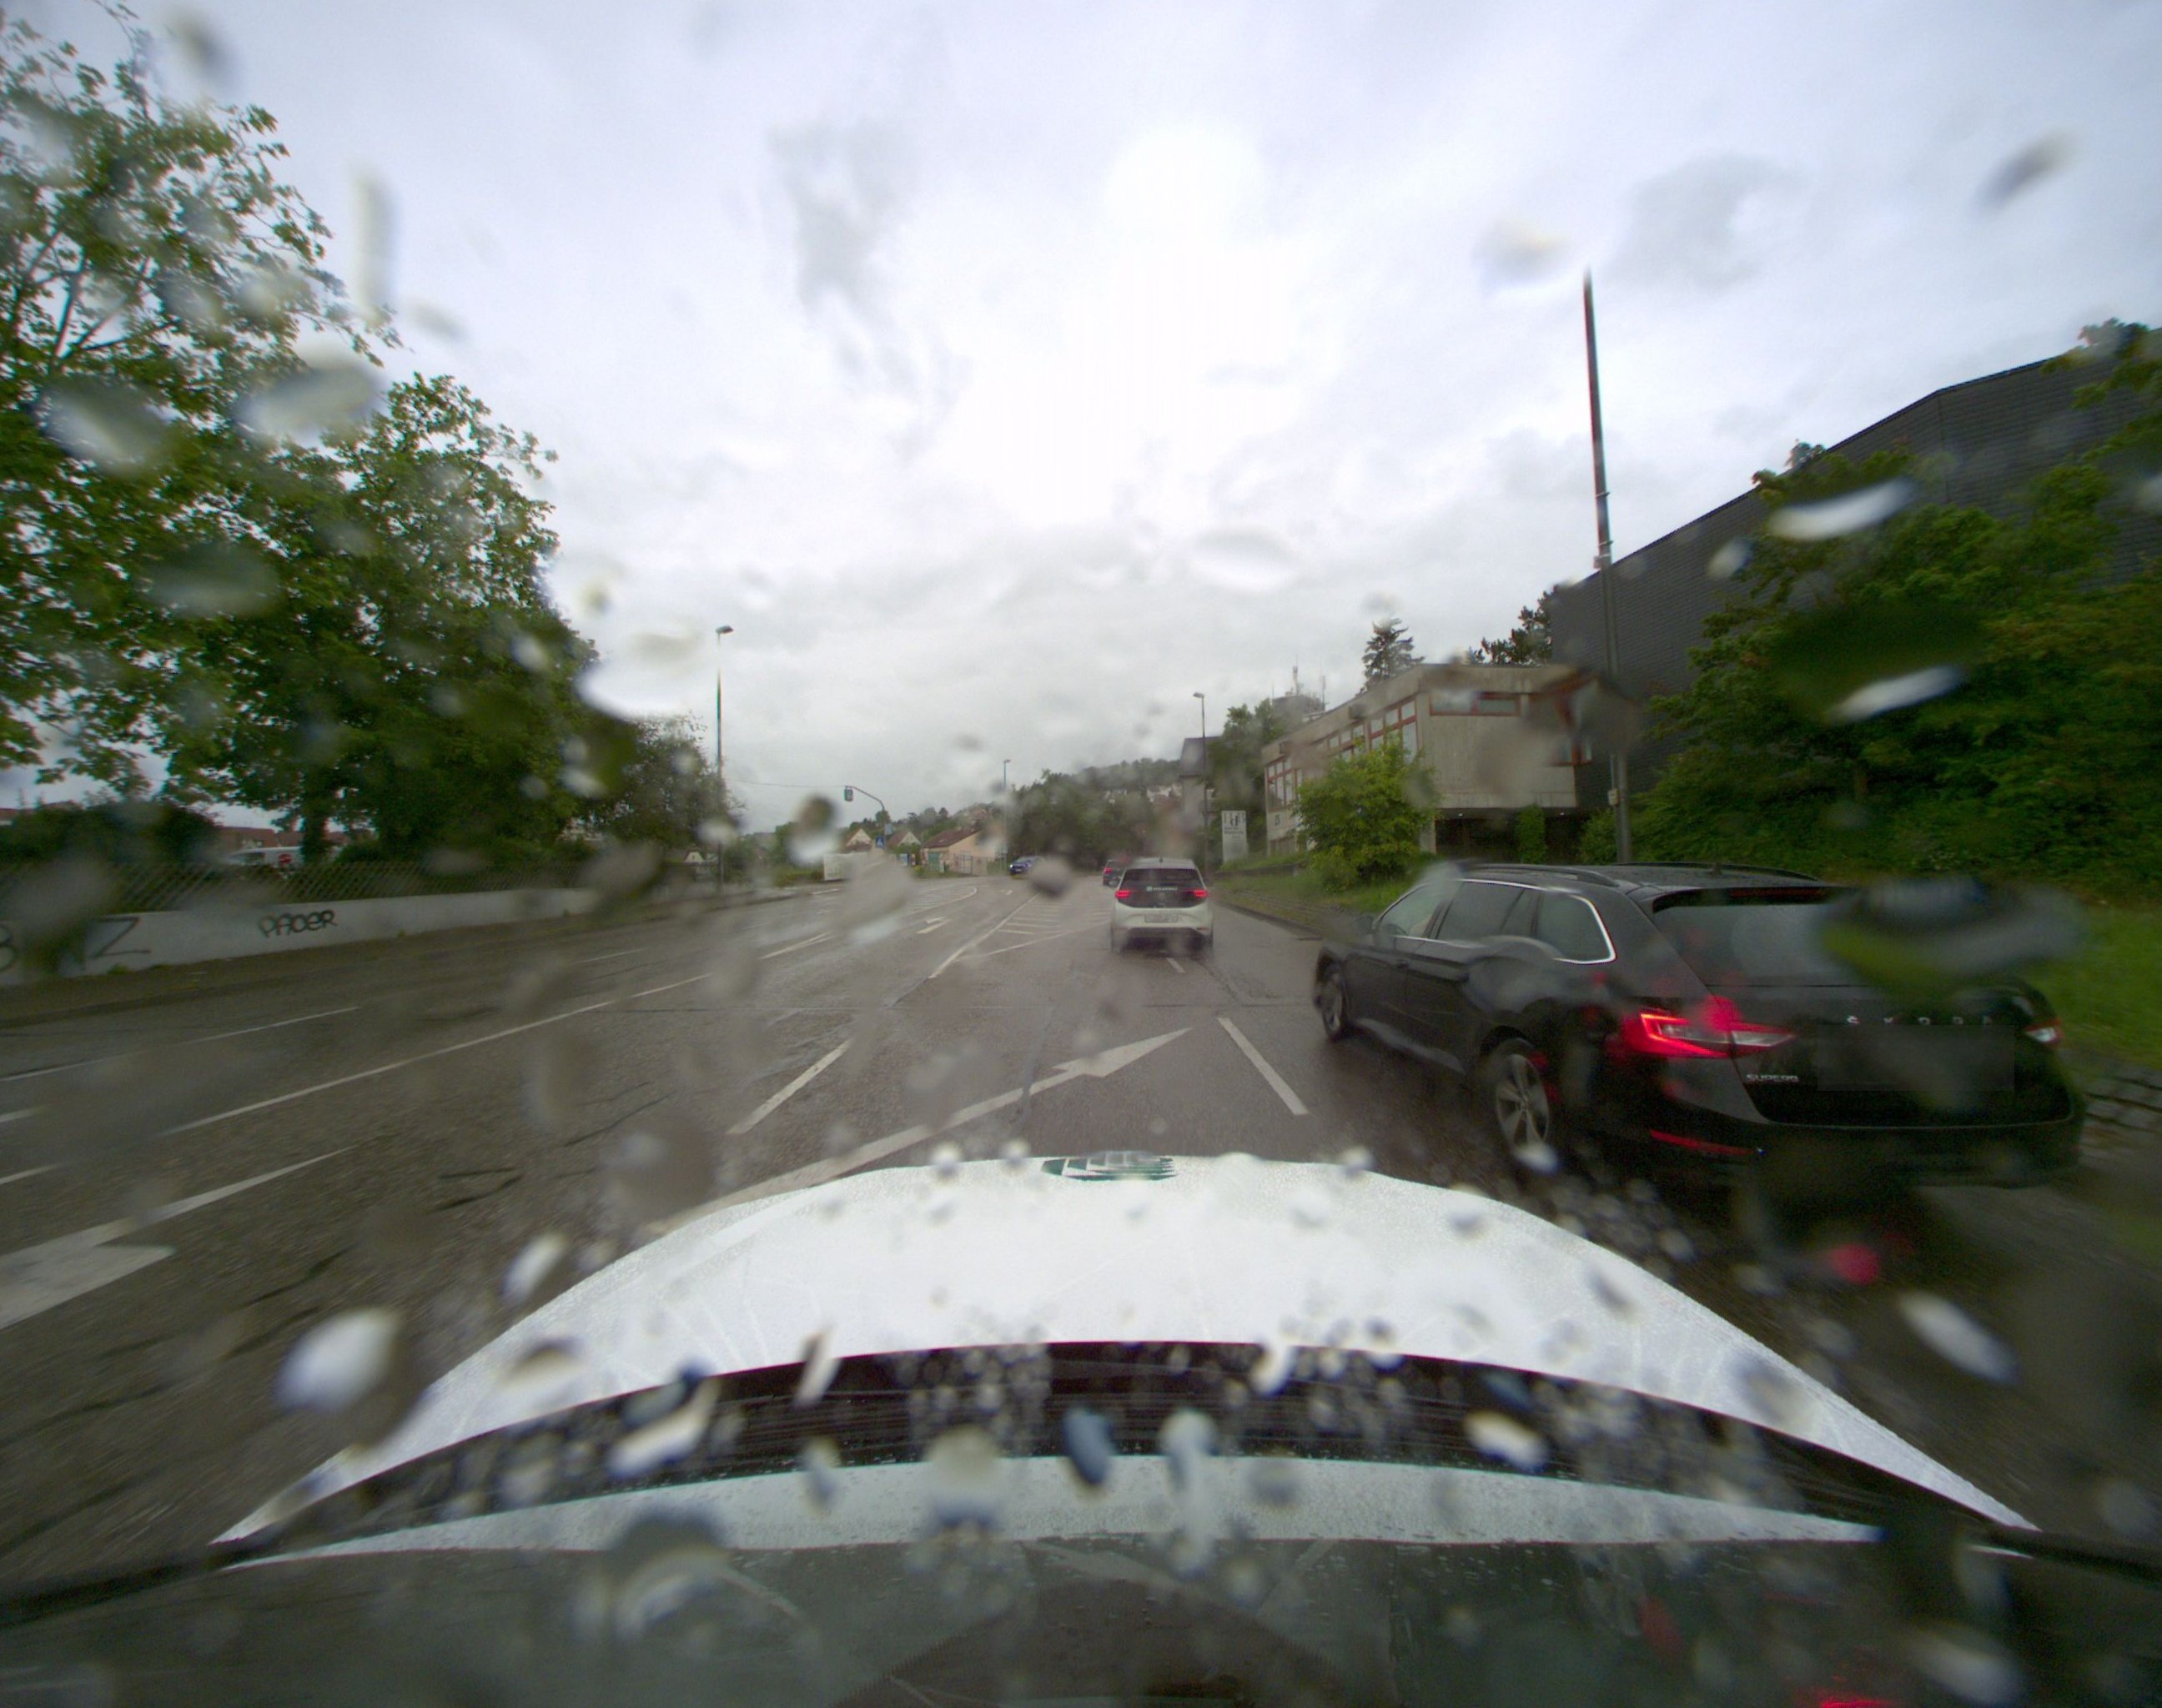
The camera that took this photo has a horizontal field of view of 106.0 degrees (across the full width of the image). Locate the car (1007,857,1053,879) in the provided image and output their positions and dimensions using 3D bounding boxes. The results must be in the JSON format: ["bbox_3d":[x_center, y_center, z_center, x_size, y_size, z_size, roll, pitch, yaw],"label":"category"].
[{"bbox_3d":[-4.037,1.148,65.806,1.977,1.693,4.728,-1,-1,20],"label":"car"}]

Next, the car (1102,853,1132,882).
[{"bbox_3d":[1.986,0.730,45.621,1.561,1.530,4.001,-1,0,2],"label":"car"}]

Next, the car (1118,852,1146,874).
[{"bbox_3d":[3.866,0.711,61.627,1.985,1.453,3.775,-4,-1,4],"label":"car"}]

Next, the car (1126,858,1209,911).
[{"bbox_3d":[2.490,0.881,24.440,1.843,1.410,4.297,-1,-1,-2],"label":"car"}]

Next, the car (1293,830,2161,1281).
[{"bbox_3d":[2.924,0.733,5.080,1.948,1.507,4.606,1,-1,-1],"label":"car"}]

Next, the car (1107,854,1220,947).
[{"bbox_3d":[1.494,0.806,15.412,1.820,1.500,4.173,-1,-1,4],"label":"car"}]
